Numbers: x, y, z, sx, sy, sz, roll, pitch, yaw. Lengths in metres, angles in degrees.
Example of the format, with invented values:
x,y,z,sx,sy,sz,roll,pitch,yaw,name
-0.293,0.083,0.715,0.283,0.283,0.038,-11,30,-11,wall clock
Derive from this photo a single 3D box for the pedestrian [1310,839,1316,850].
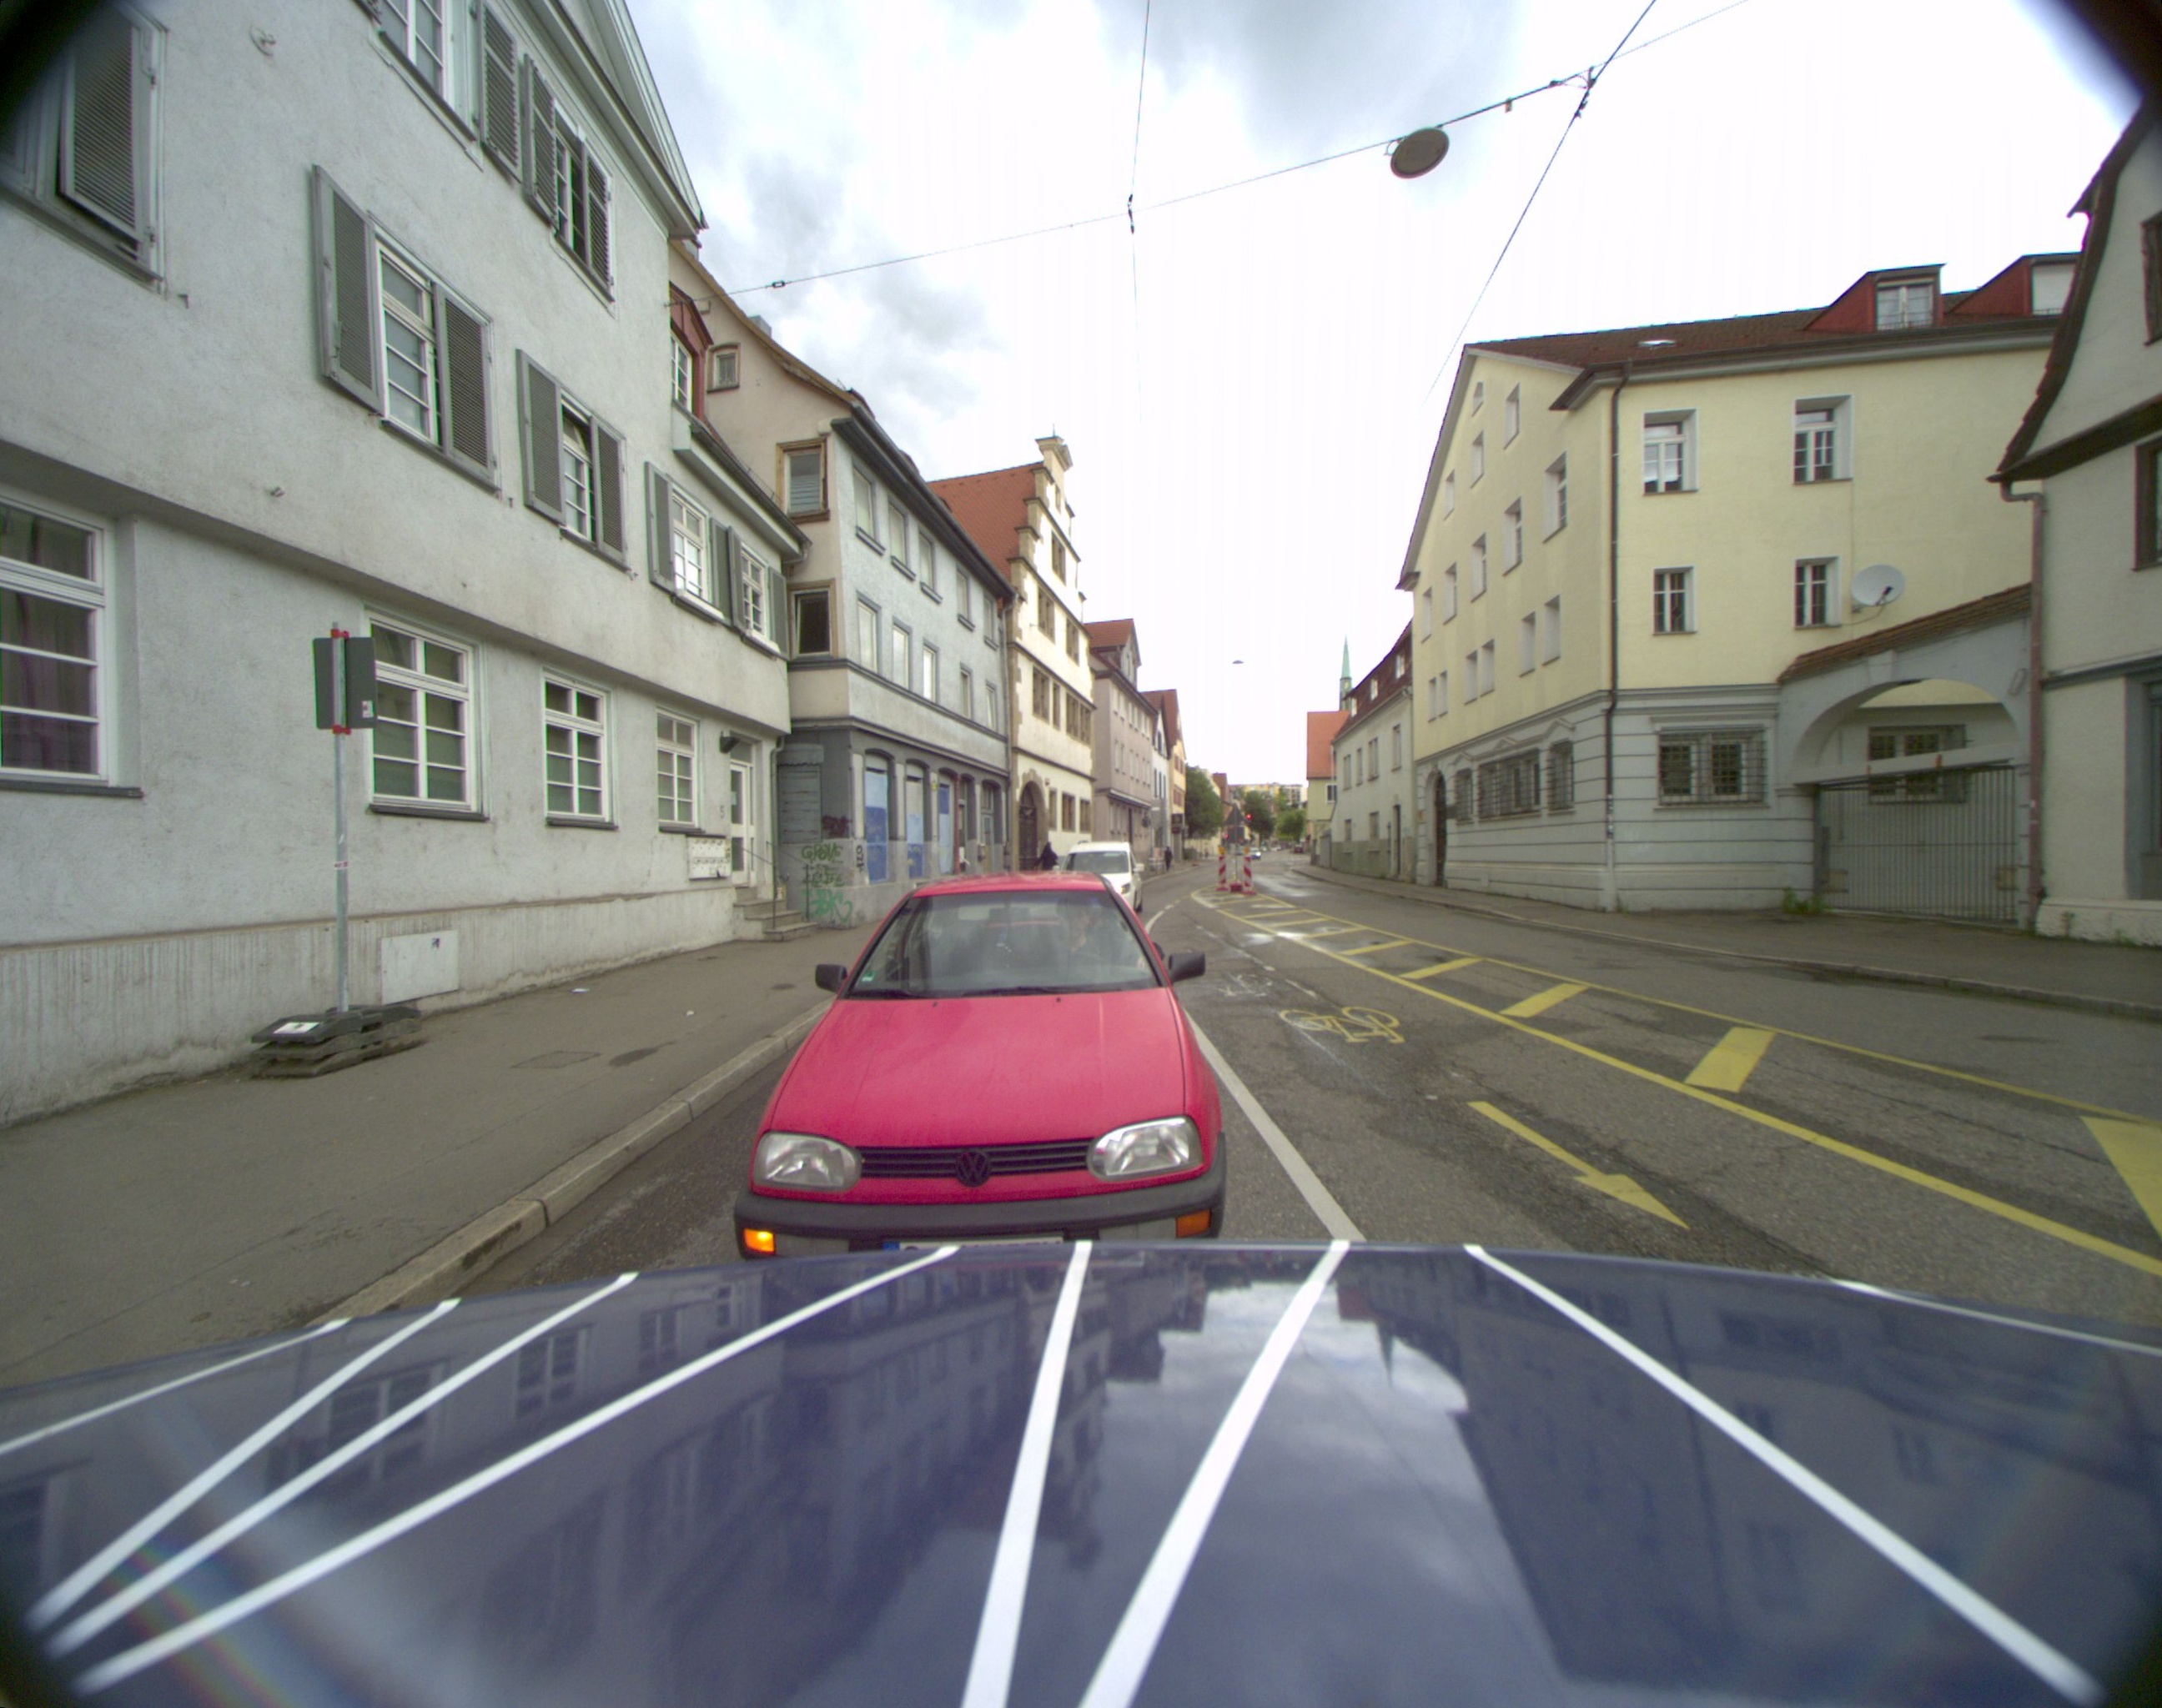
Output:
x,y,z,sx,sy,sz,roll,pitch,yaw,name
41.997,-1.773,137.529,0.835,2.002,0.846,-1,1,13,pedestrian

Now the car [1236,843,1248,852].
x,y,z,sx,sy,sz,roll,pitch,yaw,name
28.318,-1.138,133.618,2.031,1.546,4.004,0,1,14,car

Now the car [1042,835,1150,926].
x,y,z,sx,sy,sz,roll,pitch,yaw,name
0.485,0.474,17.198,1.997,1.777,4.468,0,2,7,car

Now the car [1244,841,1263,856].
x,y,z,sx,sy,sz,roll,pitch,yaw,name
20.850,-0.644,91.679,1.996,1.669,4.004,-1,1,15,car

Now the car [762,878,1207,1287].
x,y,z,sx,sy,sz,roll,pitch,yaw,name
-0.341,0.950,4.942,1.685,1.418,4.021,-1,0,1,car

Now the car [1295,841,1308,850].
x,y,z,sx,sy,sz,roll,pitch,yaw,name
42.652,-1.683,146.796,2.210,1.668,4.502,0,1,14,car

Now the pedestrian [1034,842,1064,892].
x,y,z,sx,sy,sz,roll,pitch,yaw,name
-1.083,0.437,26.089,0.756,1.658,0.810,2,1,15,pedestrian

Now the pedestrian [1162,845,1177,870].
x,y,z,sx,sy,sz,roll,pitch,yaw,name
5.879,0.254,50.424,0.833,1.646,0.945,-1,0,15,pedestrian

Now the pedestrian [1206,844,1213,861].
x,y,z,sx,sy,sz,roll,pitch,yaw,name
18.129,-0.219,107.238,0.901,2.297,0.821,-1,0,13,pedestrian

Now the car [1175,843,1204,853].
x,y,z,sx,sy,sz,roll,pitch,yaw,name
16.295,-0.901,113.625,3.992,1.455,2.002,-1,2,17,car
